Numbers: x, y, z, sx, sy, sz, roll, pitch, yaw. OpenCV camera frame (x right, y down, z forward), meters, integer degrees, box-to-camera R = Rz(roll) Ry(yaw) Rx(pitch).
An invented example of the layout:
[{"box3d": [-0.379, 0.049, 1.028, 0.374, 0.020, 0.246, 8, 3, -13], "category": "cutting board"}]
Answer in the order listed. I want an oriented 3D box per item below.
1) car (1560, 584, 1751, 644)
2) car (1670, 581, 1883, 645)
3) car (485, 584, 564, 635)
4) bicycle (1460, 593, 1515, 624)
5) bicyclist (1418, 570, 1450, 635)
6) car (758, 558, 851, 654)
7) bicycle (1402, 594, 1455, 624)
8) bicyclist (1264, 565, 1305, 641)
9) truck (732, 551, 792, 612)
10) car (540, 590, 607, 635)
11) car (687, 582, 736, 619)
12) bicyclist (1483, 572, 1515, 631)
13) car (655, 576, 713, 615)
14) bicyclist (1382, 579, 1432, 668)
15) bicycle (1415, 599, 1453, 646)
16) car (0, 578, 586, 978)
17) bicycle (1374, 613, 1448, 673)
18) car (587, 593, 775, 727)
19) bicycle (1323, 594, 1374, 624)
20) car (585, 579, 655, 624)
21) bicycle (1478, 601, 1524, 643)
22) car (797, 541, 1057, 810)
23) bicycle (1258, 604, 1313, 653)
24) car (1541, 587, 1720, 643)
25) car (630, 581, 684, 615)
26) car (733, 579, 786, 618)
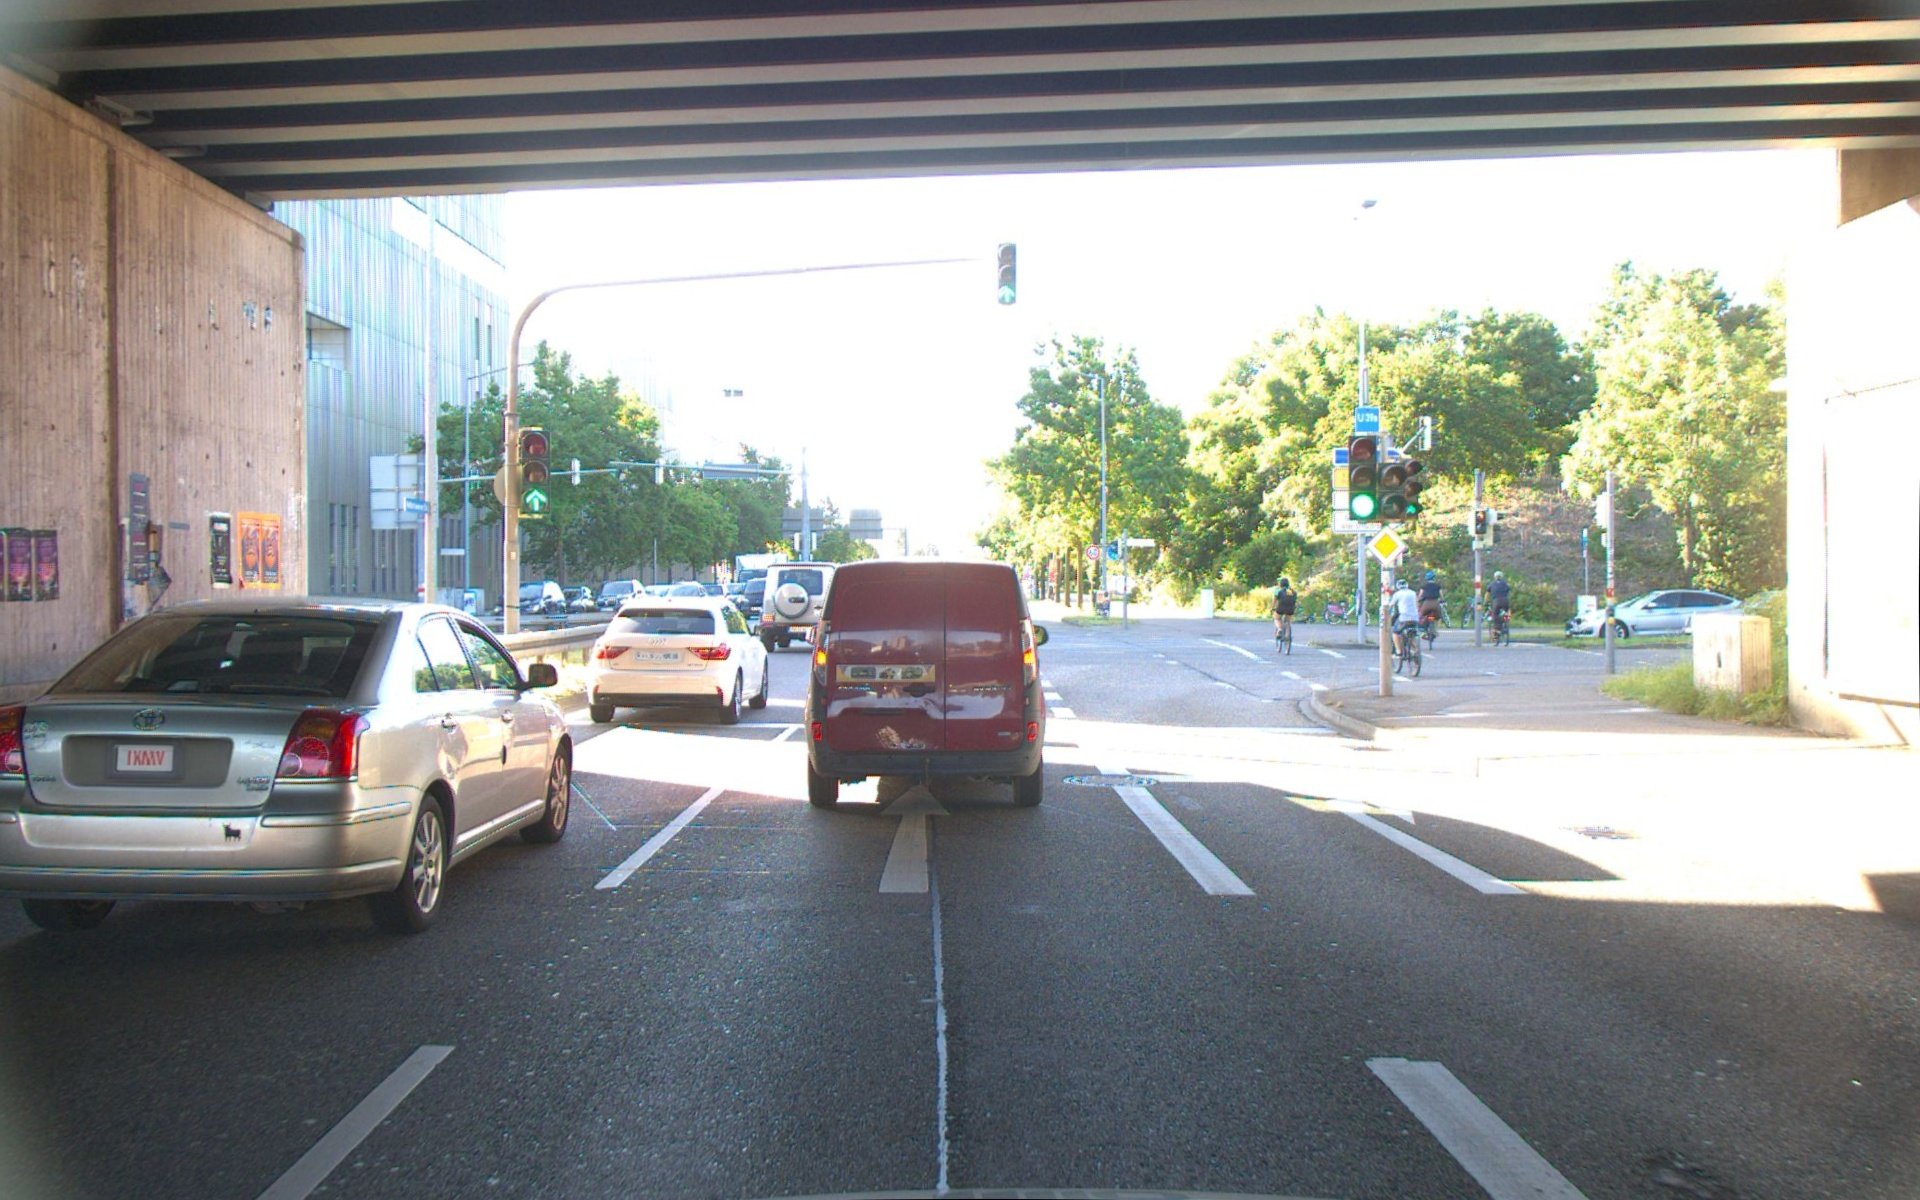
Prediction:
[{"box3d": [18.854, 0.380, 44.994, 4.451, 1.540, 1.829, 1, -1, 6], "category": "car"}, {"box3d": [20.484, 0.333, 41.620, 4.451, 1.540, 1.829, 1, -1, 6], "category": "car"}, {"box3d": [-16.426, 0.356, 62.619, 1.788, 1.768, 4.628, -3, 0, -1], "category": "car"}, {"box3d": [18.002, 0.285, 56.460, 1.707, 1.041, 0.594, 1, -1, 10], "category": "bicycle"}, {"box3d": [11.034, 0.057, 38.529, 0.650, 1.500, 0.751, 0, -1, 11], "category": "bicyclist"}, {"box3d": [-3.488, 0.167, 37.788, 1.764, 2.023, 4.587, 1, -1, -1], "category": "car"}, {"box3d": [16.210, 0.313, 57.281, 1.707, 1.041, 0.594, 1, -1, 8], "category": "bicycle"}, {"box3d": [7.132, 0.065, 36.400, 0.581, 1.642, 0.940, 1, -1, -11], "category": "bicyclist"}, {"box3d": [-10.705, -0.965, 89.708, 2.360, 3.079, 6.656, -2, 0, 0], "category": "truck"}, {"box3d": [-16.630, 0.523, 71.364, 1.788, 1.768, 4.528, -3, 0, -1], "category": "car"}, {"box3d": [-10.723, 0.007, 71.624, 1.603, 1.468, 4.075, -3, 0, -2], "category": "car"}, {"box3d": [13.804, 0.031, 42.369, 0.636, 1.507, 0.618, 0, 0, 2], "category": "bicyclist"}, {"box3d": [-10.977, -0.180, 66.011, 1.602, 1.468, 4.076, -3, 0, 0], "category": "car"}, {"box3d": [8.044, 0.429, 29.790, 0.581, 1.576, 0.767, 1, -1, -11], "category": "bicyclist"}, {"box3d": [11.034, 0.531, 38.538, 0.657, 1.041, 2.057, 0, -1, 11], "category": "bicycle"}, {"box3d": [-3.164, 0.689, 8.426, 1.698, 1.506, 4.316, 0, -1, -3], "category": "car"}, {"box3d": [8.071, 0.766, 29.634, 0.581, 1.041, 1.746, 1, -1, -10], "category": "bicycle"}, {"box3d": [-3.283, 0.655, 20.111, 1.777, 1.463, 3.729, 0, 0, -2], "category": "car"}, {"box3d": [13.799, 0.306, 58.706, 1.707, 1.041, 0.594, 1, -1, 8], "category": "bicycle"}, {"box3d": [-13.493, 0.050, 65.835, 1.787, 1.653, 4.529, -3, 0, 0], "category": "car"}, {"box3d": [13.810, 0.560, 42.244, 0.653, 1.041, 1.751, 0, 0, 2], "category": "bicycle"}, {"box3d": [-0.263, 0.551, 13.364, 1.768, 1.826, 3.999, 1, -1, -1], "category": "car"}, {"box3d": [7.141, 0.627, 36.394, 0.581, 1.041, 1.746, 1, -1, -10], "category": "bicycle"}, {"box3d": [19.240, 0.429, 47.599, 4.451, 1.540, 1.829, 1, -1, 6], "category": "car"}, {"box3d": [-13.623, -0.084, 74.576, 1.613, 1.429, 3.978, -3, 0, 1], "category": "car"}, {"box3d": [-7.984, -0.068, 66.134, 1.602, 1.468, 3.718, -3, 0, 0], "category": "car"}]
